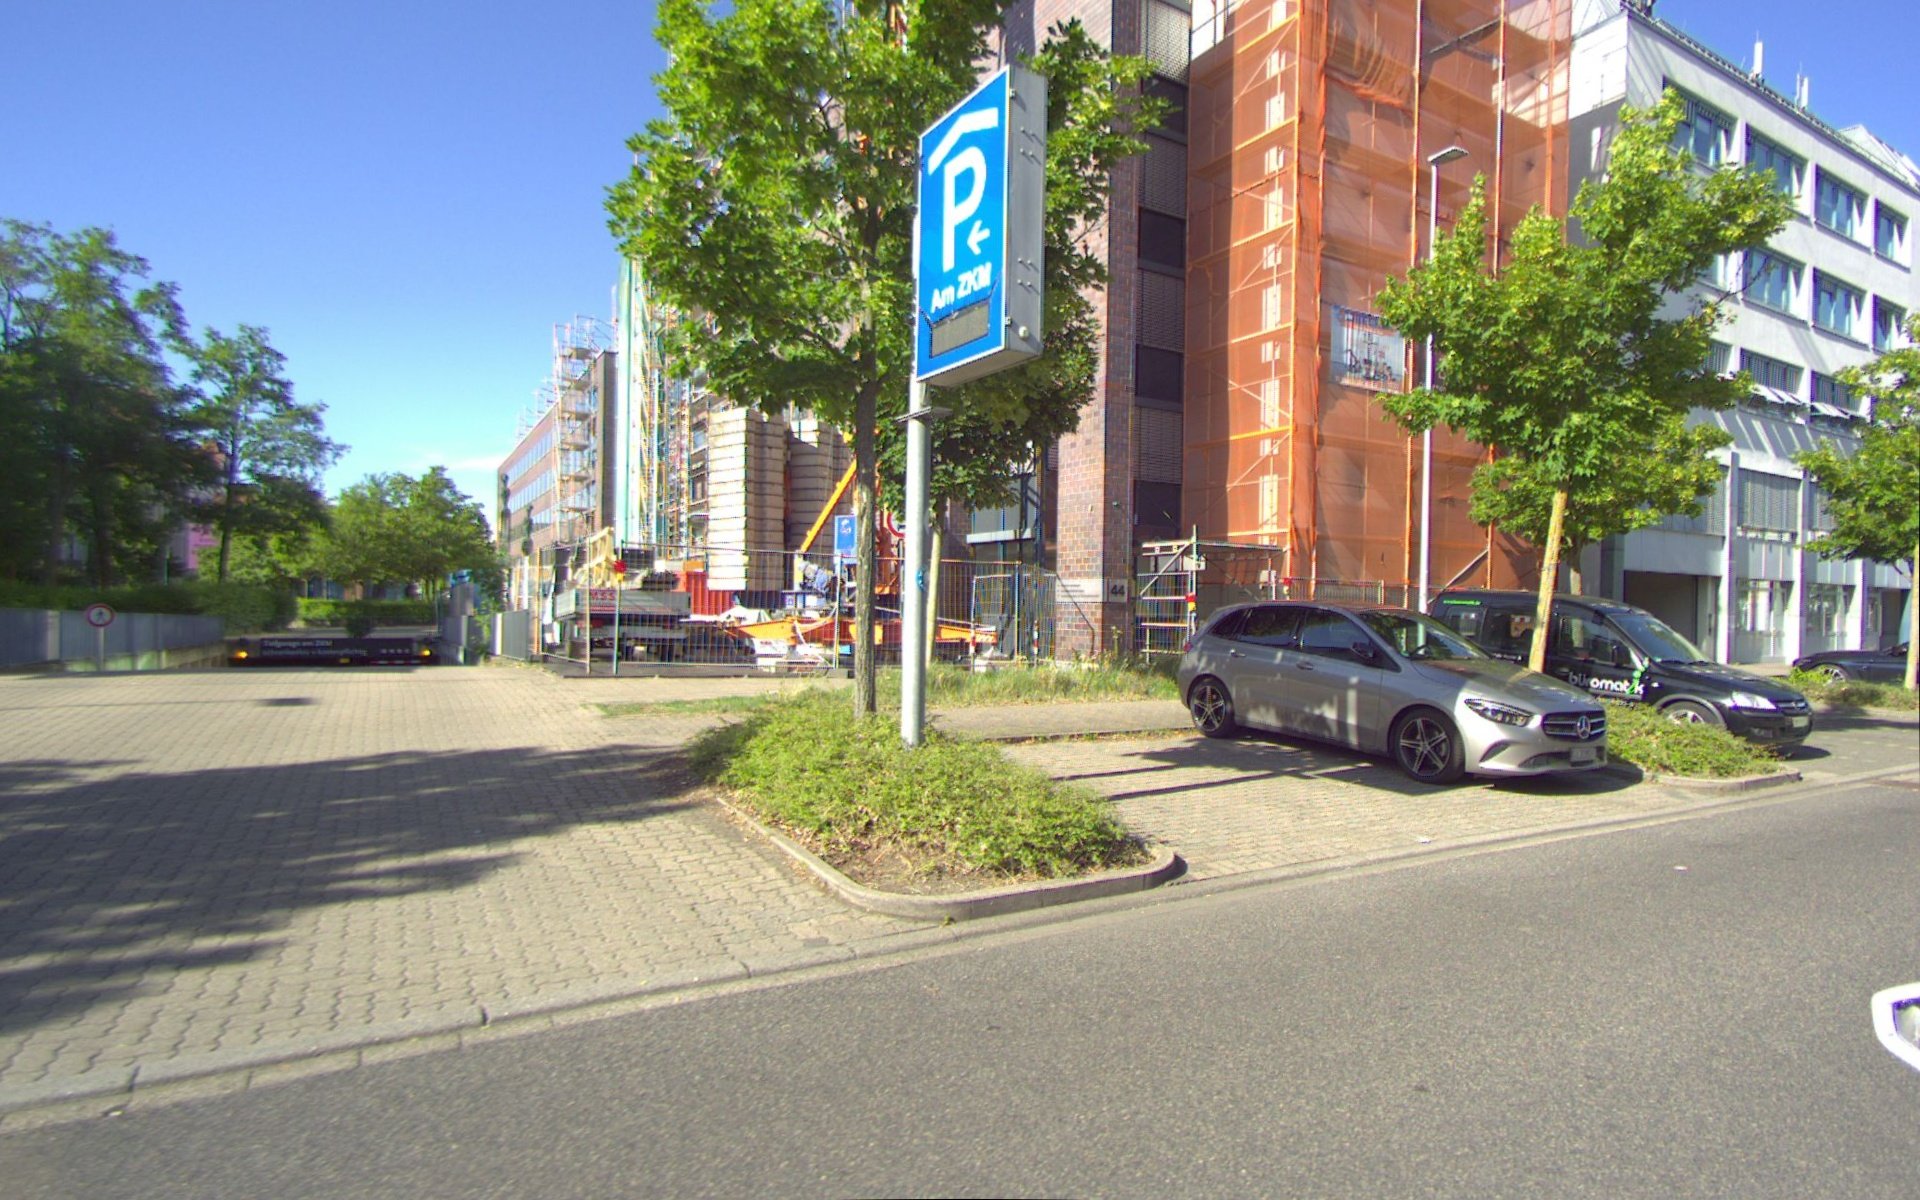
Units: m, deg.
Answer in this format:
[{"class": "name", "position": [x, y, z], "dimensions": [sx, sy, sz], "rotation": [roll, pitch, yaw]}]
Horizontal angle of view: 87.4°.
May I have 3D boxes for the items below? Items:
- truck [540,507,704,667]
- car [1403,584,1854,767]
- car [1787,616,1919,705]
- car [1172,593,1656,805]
[{"class": "truck", "position": [-7.058, -0.188, 20.485], "dimensions": [2.241, 2.767, 5.819], "rotation": [1, -1, -28]}, {"class": "car", "position": [8.148, 0.771, 12.749], "dimensions": [1.824, 1.769, 4.366], "rotation": [1, 2, -28]}, {"class": "car", "position": [17.976, 1.158, 18.069], "dimensions": [1.957, 1.451, 4.358], "rotation": [1, 2, -33]}, {"class": "car", "position": [4.338, 0.803, 10.385], "dimensions": [1.674, 1.534, 4.363], "rotation": [1, 2, -30]}]
